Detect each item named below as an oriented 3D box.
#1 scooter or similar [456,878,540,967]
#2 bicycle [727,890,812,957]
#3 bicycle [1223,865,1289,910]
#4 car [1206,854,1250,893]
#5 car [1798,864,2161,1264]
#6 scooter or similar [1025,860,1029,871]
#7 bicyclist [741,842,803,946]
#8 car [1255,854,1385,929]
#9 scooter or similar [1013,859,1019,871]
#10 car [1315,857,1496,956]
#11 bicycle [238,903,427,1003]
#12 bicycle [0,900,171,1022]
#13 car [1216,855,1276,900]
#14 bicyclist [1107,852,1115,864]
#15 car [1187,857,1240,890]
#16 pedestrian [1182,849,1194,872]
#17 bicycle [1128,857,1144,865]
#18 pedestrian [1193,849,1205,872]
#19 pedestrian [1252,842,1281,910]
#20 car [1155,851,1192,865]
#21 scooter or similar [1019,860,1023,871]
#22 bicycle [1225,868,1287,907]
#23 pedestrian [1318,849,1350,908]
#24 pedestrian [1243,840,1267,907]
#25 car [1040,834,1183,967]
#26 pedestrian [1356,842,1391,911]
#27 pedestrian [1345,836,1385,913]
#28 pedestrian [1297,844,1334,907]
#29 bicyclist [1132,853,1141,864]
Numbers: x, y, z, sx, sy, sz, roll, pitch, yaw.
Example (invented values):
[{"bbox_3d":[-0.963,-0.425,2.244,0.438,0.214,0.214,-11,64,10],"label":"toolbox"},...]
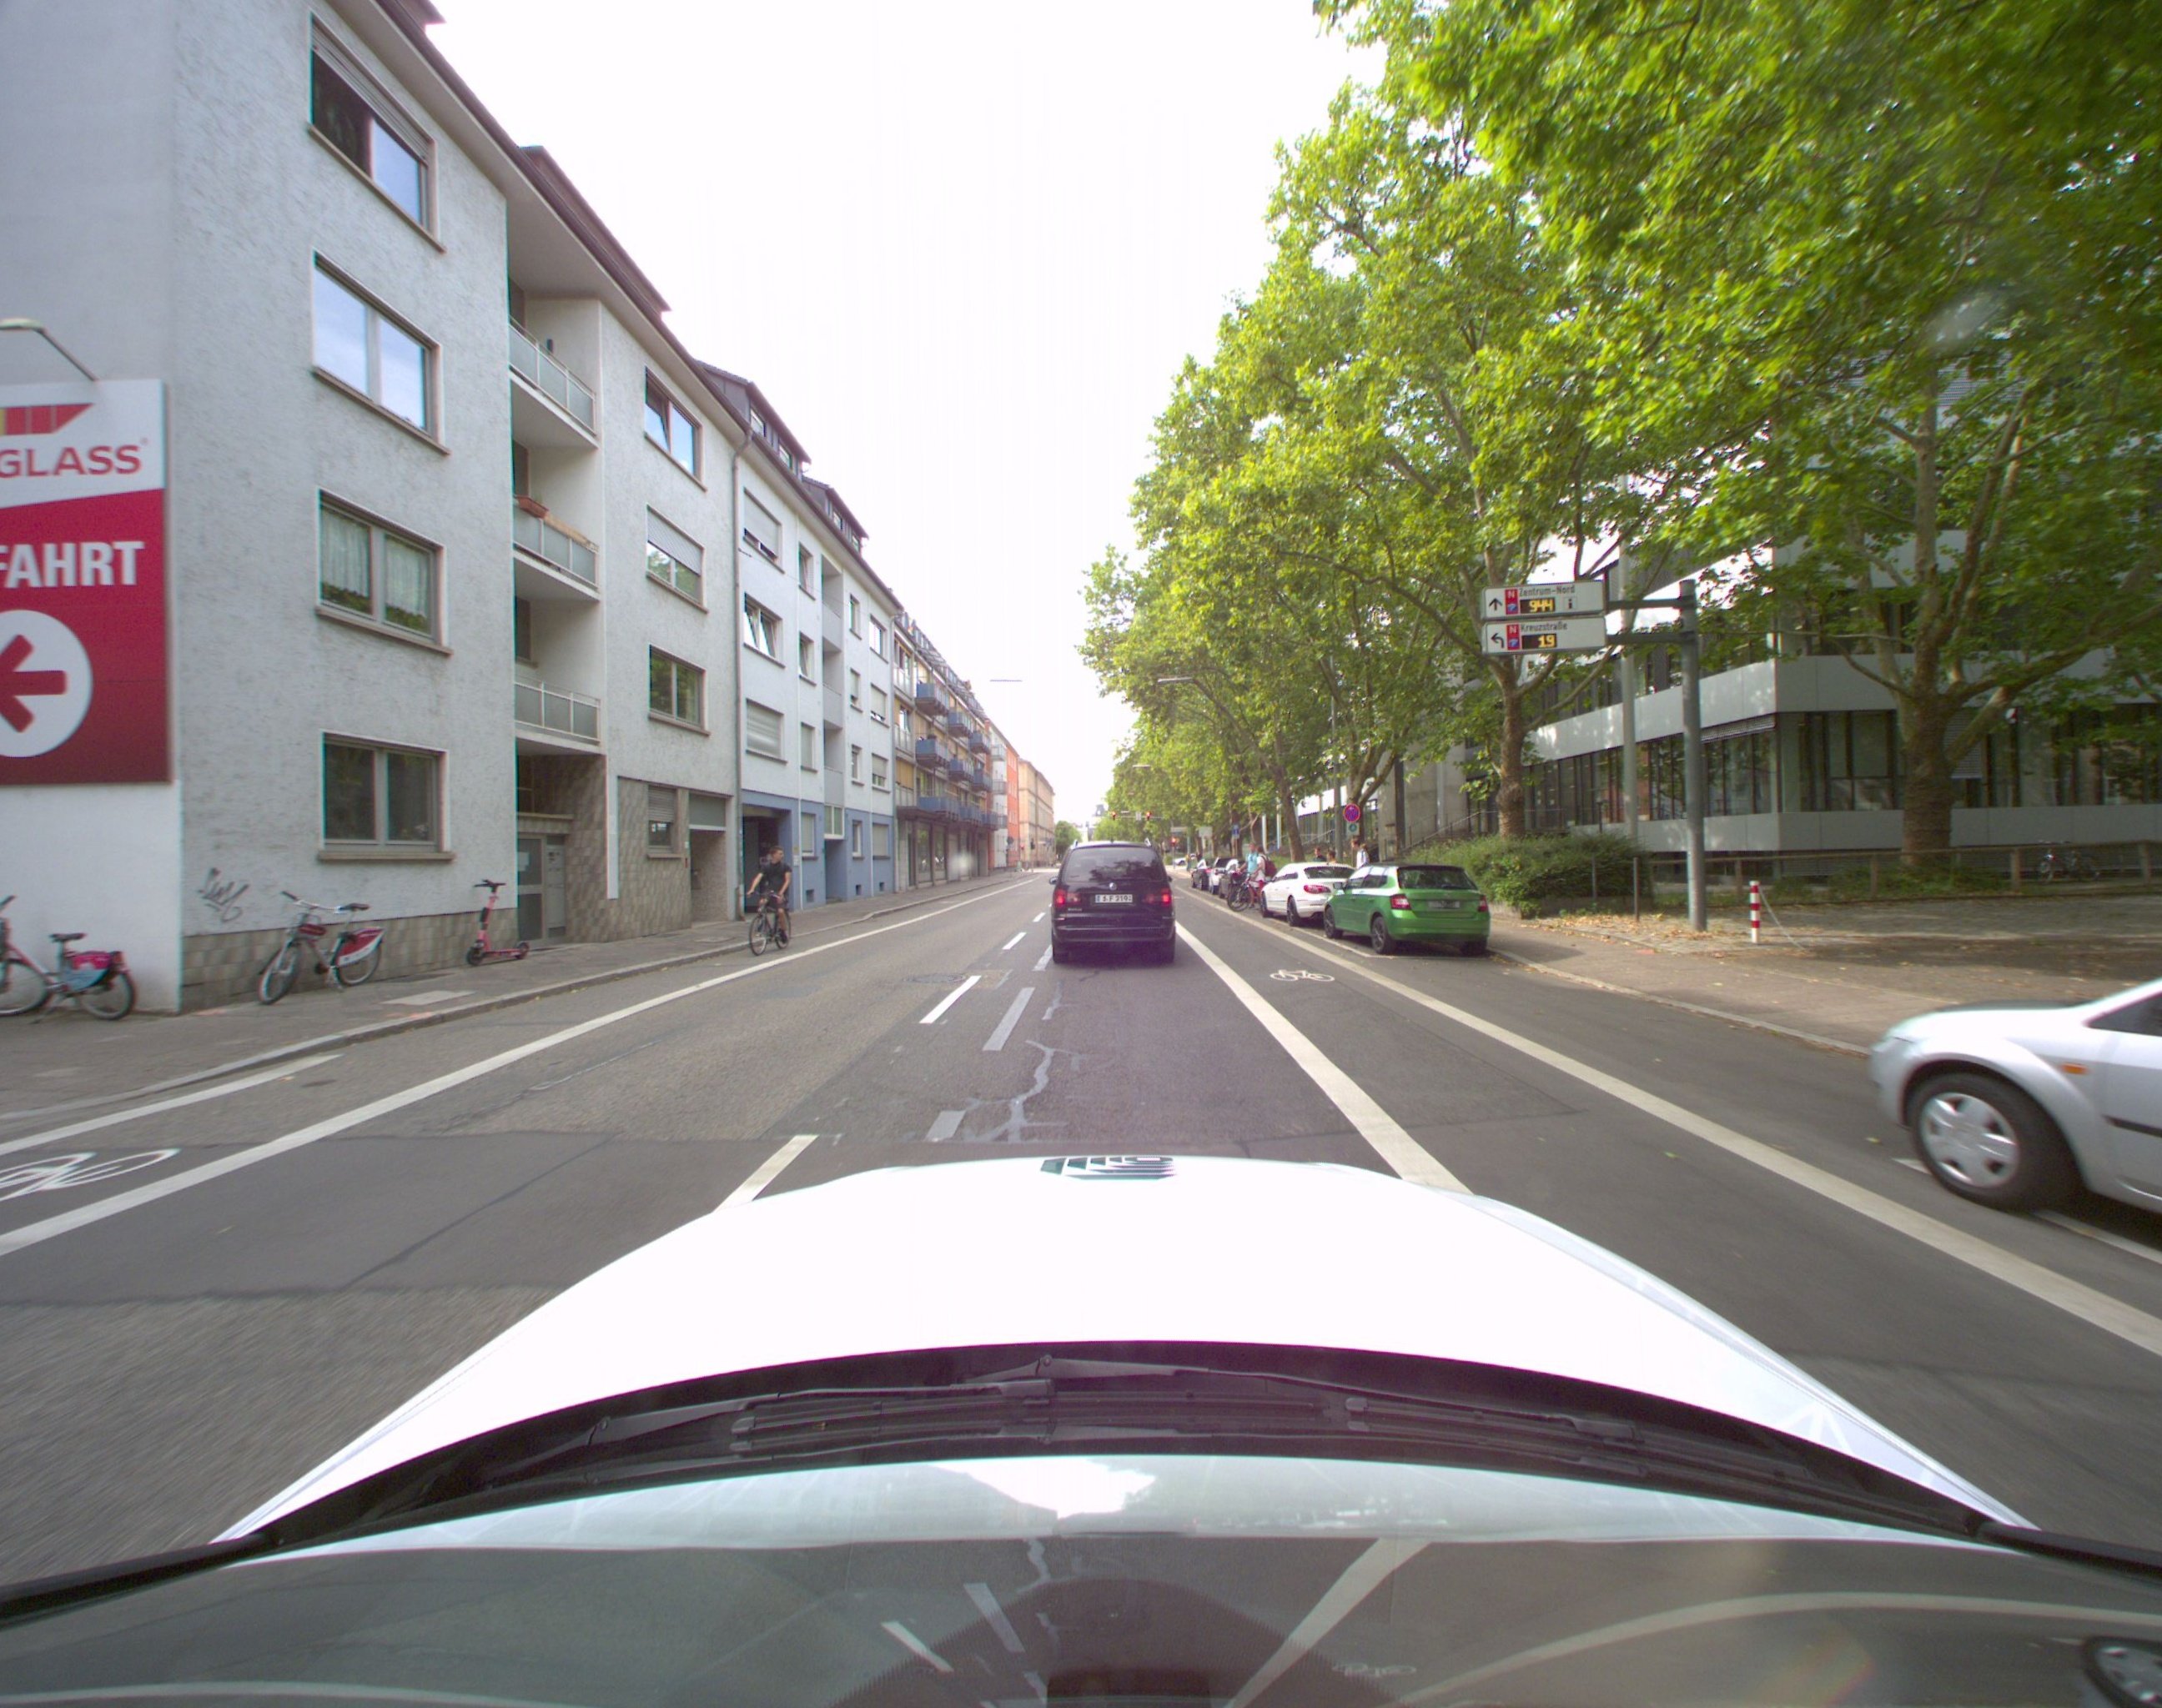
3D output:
[{"bbox_3d":[-8.643,0.991,12.110,0.348,1.221,1.202,0,0,2],"label":"scooter or similar"},{"bbox_3d":[-5.582,1.209,14.734,0.643,1.014,2.077,-2,0,2],"label":"bicycle"},{"bbox_3d":[4.906,0.923,22.837,1.793,1.217,0.550,0,0,-16],"label":"bicycle"},{"bbox_3d":[6.025,0.766,33.546,1.528,1.543,2.602,0,0,4],"label":"car"},{"bbox_3d":[4.806,0.789,2.540,1.639,1.447,3.879,1,0,-3],"label":"car"},{"bbox_3d":[-5.832,1.205,87.911,0.377,1.144,1.141,-1,-2,-2],"label":"scooter or similar"},{"bbox_3d":[-5.598,0.703,14.809,0.649,1.811,1.046,-2,-1,2],"label":"bicyclist"},{"bbox_3d":[5.423,0.785,19.110,1.675,1.516,4.543,1,0,0],"label":"car"},{"bbox_3d":[-6.467,1.115,81.125,0.376,1.184,1.390,-1,-2,2],"label":"scooter or similar"},{"bbox_3d":[5.423,0.794,14.124,1.582,1.450,3.804,1,0,0],"label":"car"},{"bbox_3d":[-8.545,1.095,9.401,0.595,0.950,1.663,0,0,2],"label":"bicycle"},{"bbox_3d":[-9.944,1.020,7.889,1.765,1.117,0.453,0,0,1],"label":"bicycle"},{"bbox_3d":[5.758,0.784,28.734,1.522,1.502,3.662,0,0,2],"label":"car"},{"bbox_3d":[3.736,0.542,100.489,0.914,1.466,0.568,0,0,-9],"label":"bicyclist"},{"bbox_3d":[6.066,0.838,37.714,1.692,1.425,4.420,0,0,-1],"label":"car"},{"bbox_3d":[8.438,0.523,64.105,0.708,1.783,1.033,-3,-1,0],"label":"pedestrian"},{"bbox_3d":[6.914,0.852,101.969,1.925,1.028,0.581,0,0,-12],"label":"bicycle"},{"bbox_3d":[9.300,0.504,64.116,0.712,1.800,1.033,-3,-1,0],"label":"pedestrian"},{"bbox_3d":[5.147,0.605,22.596,0.520,1.845,0.741,0,0,-13],"label":"pedestrian"},{"bbox_3d":[11.309,0.475,99.465,4.087,1.427,1.756,-3,0,-11],"label":"car"},{"bbox_3d":[-6.437,1.217,87.378,0.377,1.147,1.141,-1,-2,-2],"label":"scooter or similar"},{"bbox_3d":[5.182,0.989,24.139,1.734,1.105,0.550,0,0,-10],"label":"bicycle"},{"bbox_3d":[7.212,0.688,23.218,0.718,1.658,0.655,0,0,1],"label":"pedestrian"},{"bbox_3d":[5.096,0.572,23.872,0.474,1.934,0.742,0,0,-9],"label":"pedestrian"},{"bbox_3d":[0.448,0.615,13.089,1.867,1.745,4.574,-1,0,1],"label":"car"},{"bbox_3d":[8.006,0.596,22.286,0.718,1.855,0.704,0,0,1],"label":"pedestrian"},{"bbox_3d":[7.522,0.537,21.590,0.790,1.997,0.750,0,0,1],"label":"pedestrian"},{"bbox_3d":[6.901,0.622,24.016,0.867,1.816,0.780,0,0,1],"label":"pedestrian"},{"bbox_3d":[6.961,0.550,101.986,0.915,1.466,0.568,0,0,-11],"label":"bicyclist"}]
